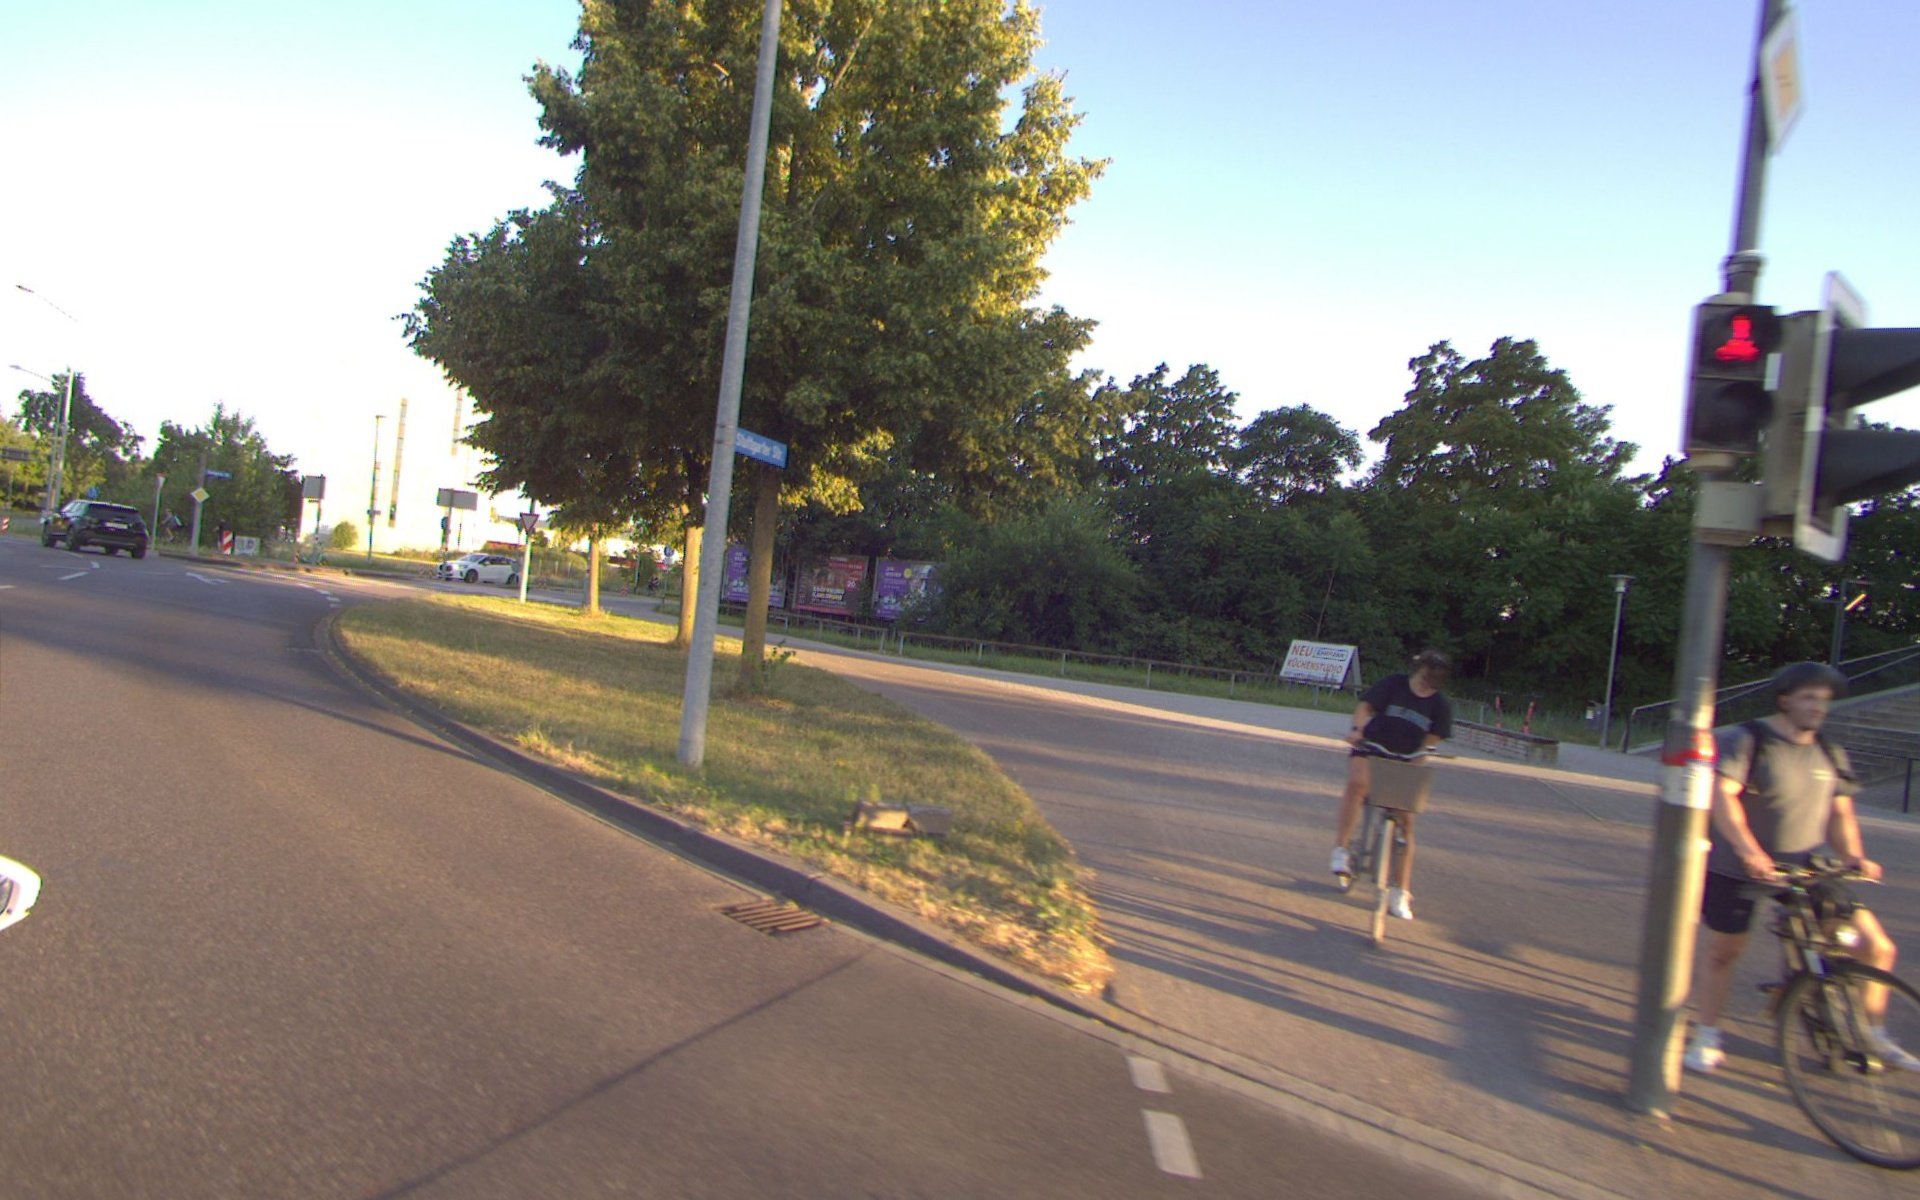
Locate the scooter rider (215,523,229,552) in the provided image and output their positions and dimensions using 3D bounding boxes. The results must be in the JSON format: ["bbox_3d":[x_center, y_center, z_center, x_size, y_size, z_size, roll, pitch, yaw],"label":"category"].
[{"bbox_3d":[-35.907,-3.050,48.947,0.399,1.355,0.265,7,0,15],"label":"scooter rider"}]

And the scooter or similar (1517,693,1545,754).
[{"bbox_3d":[12.371,2.657,21.794,0.360,1.235,1.574,7,0,31],"label":"scooter or similar"}]

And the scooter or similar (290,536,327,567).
[{"bbox_3d":[-29.570,-2.198,45.647,1.357,1.177,0.442,7,0,8],"label":"scooter or similar"}]

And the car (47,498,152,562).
[{"bbox_3d":[-26.288,-2.170,30.701,4.077,1.543,1.810,7,0,42],"label":"car"}]

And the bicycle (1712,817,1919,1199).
[{"bbox_3d":[3.634,1.572,4.193,0.430,1.035,1.861,7,-1,29],"label":"bicycle"}]

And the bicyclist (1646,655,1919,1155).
[{"bbox_3d":[3.559,1.177,4.278,0.790,1.777,0.848,7,0,28],"label":"bicyclist"}]

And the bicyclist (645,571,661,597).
[{"bbox_3d":[-22.525,-1.178,73.775,0.828,1.765,0.537,7,0,11],"label":"bicyclist"}]

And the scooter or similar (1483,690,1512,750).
[{"bbox_3d":[11.845,2.619,22.155,0.360,1.235,1.574,7,0,31],"label":"scooter or similar"}]

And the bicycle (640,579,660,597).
[{"bbox_3d":[-22.704,-0.883,73.756,1.346,1.102,0.280,7,0,11],"label":"bicycle"}]

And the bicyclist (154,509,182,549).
[{"bbox_3d":[-39.539,-3.533,50.216,0.899,1.922,0.636,4,1,-30],"label":"bicyclist"}]

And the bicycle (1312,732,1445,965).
[{"bbox_3d":[2.545,1.440,6.267,0.302,1.035,1.865,7,-1,12],"label":"bicycle"}]

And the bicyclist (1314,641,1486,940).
[{"bbox_3d":[2.700,1.126,6.256,0.671,1.668,0.685,7,0,12],"label":"bicyclist"}]

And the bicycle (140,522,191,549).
[{"bbox_3d":[-39.574,-3.207,50.123,1.906,1.099,0.453,5,1,-30],"label":"bicycle"}]

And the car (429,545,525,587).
[{"bbox_3d":[-24.275,-1.682,50.706,1.856,1.577,4.096,6,-2,20],"label":"car"}]
